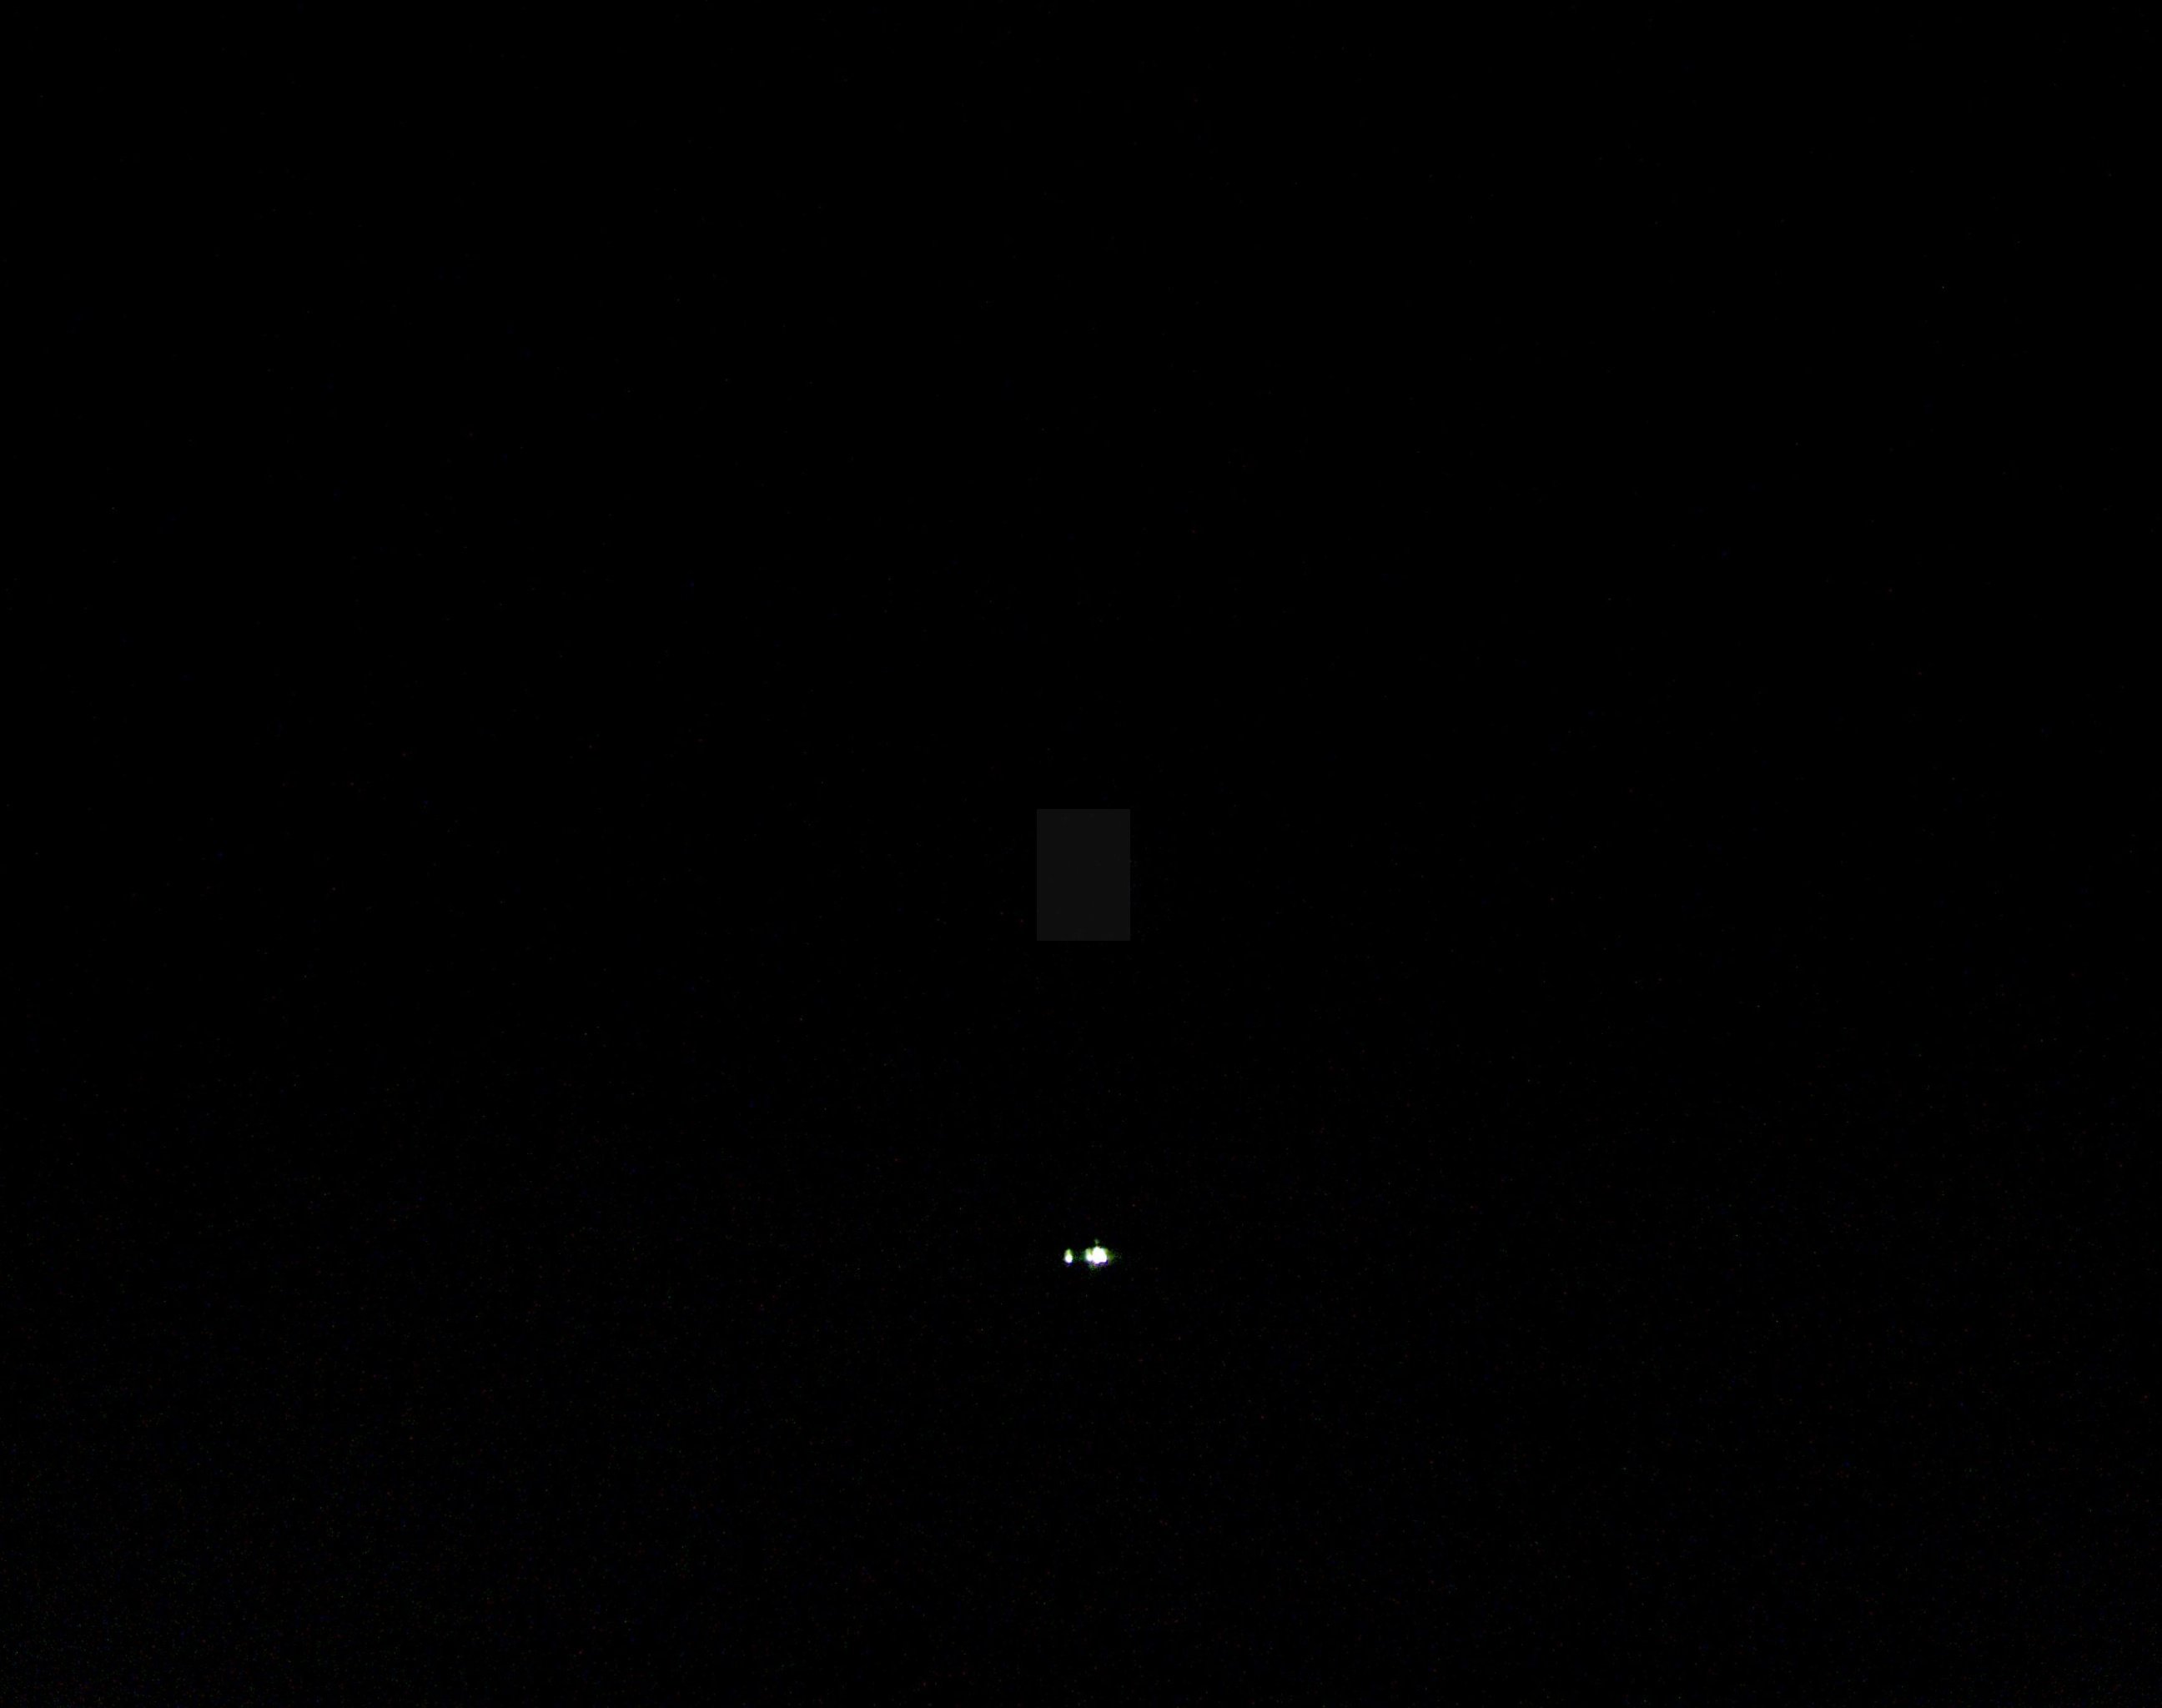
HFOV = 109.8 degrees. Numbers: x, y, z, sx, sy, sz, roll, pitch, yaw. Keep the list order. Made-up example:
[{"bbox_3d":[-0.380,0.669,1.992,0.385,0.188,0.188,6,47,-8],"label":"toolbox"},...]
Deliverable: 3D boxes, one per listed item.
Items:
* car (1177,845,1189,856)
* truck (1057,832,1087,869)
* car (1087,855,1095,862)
[{"bbox_3d":[21.812,-0.686,163.080,1.998,2.231,4.000,-2,0,1],"label":"car"},{"bbox_3d":[-0.964,-0.431,88.022,3.003,3.877,12.887,-2,1,1],"label":"truck"},{"bbox_3d":[2.438,1.079,185.934,1.845,1.475,4.293,-2,1,4],"label":"car"}]
